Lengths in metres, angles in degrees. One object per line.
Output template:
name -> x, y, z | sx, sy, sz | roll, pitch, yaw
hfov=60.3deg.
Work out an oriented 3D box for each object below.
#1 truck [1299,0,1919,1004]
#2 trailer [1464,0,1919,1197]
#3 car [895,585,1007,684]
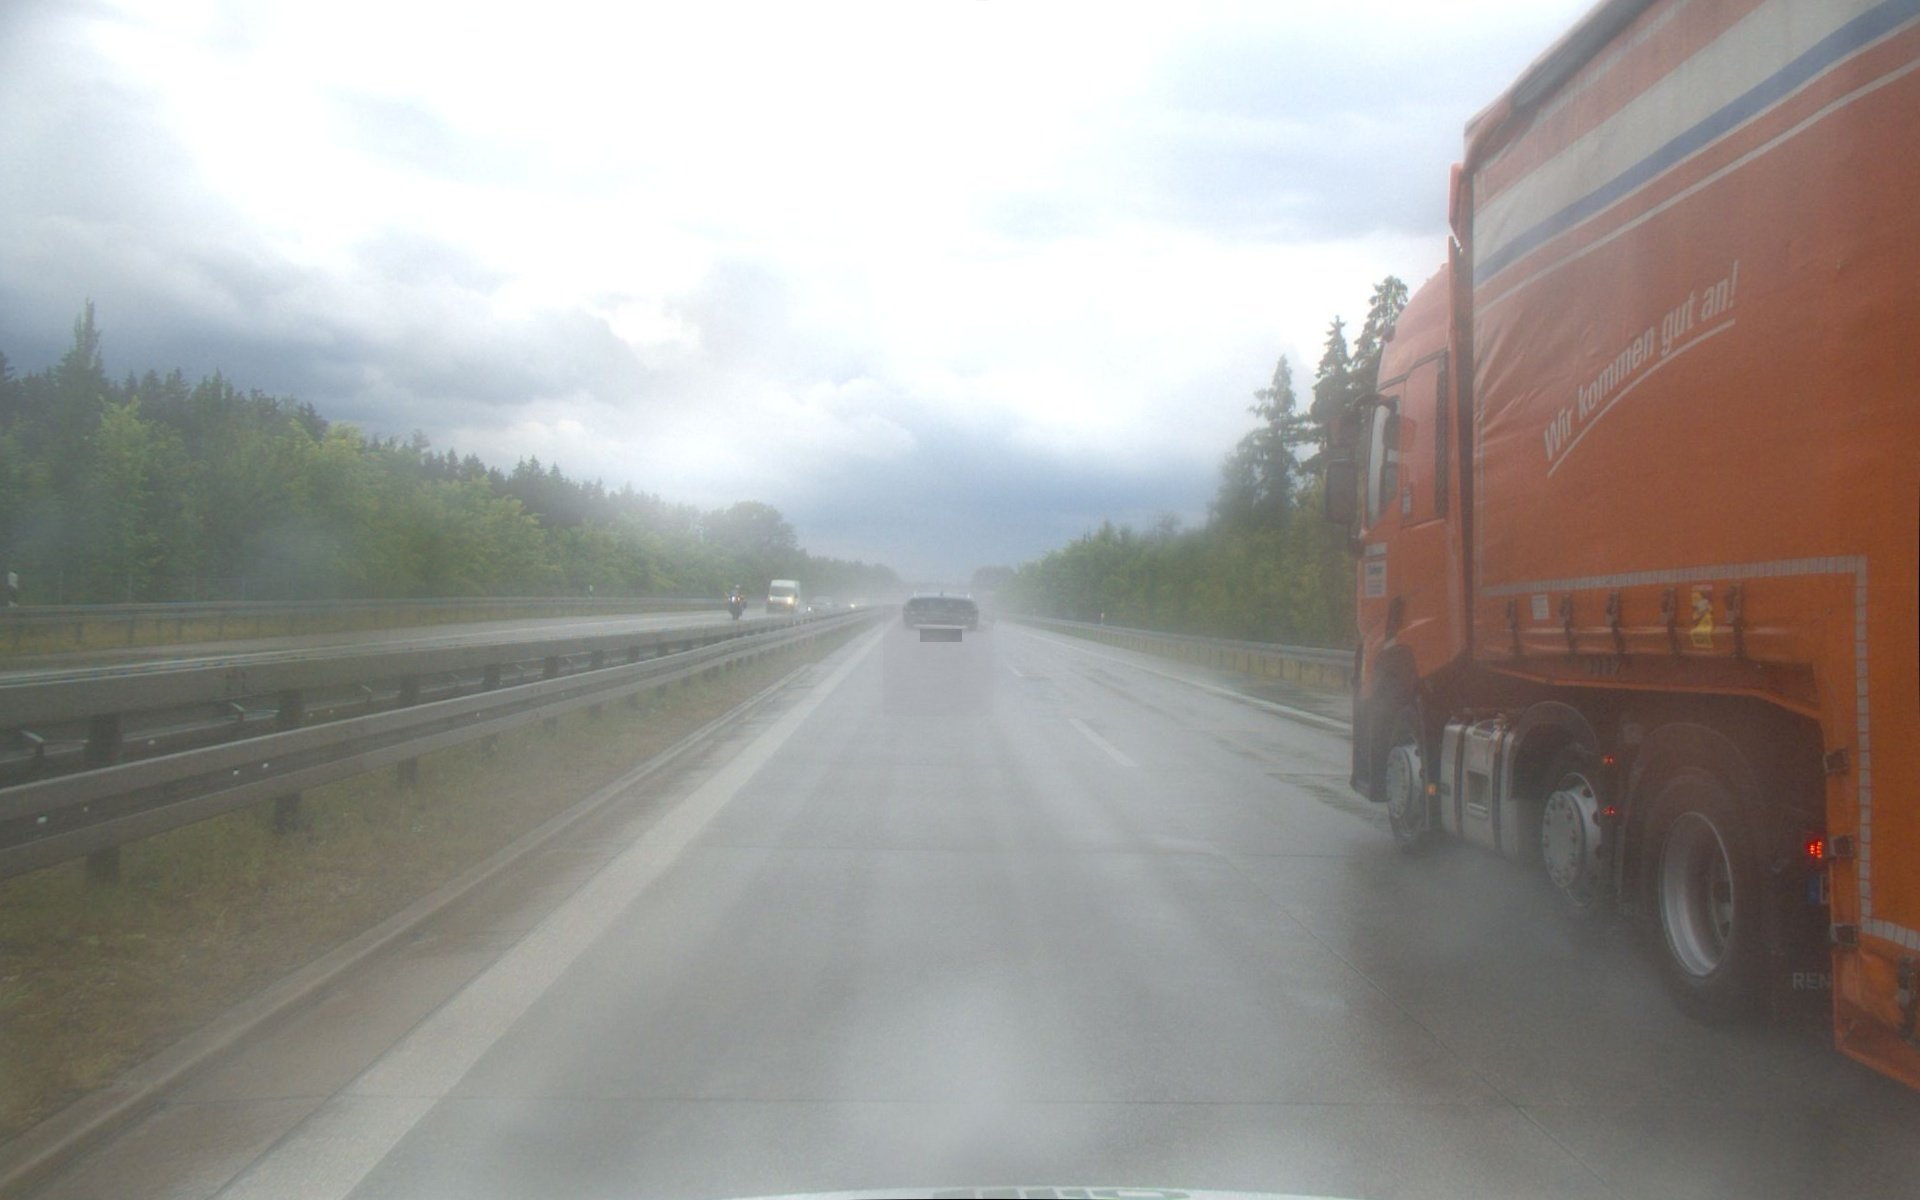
truck -> 3.870, -0.480, 9.243 | 2.703, 4.159, 5.436 | 1, 0, -1
trailer -> 4.002, -0.516, 1.714 | 2.738, 4.230, 13.002 | 1, 0, -1
car -> -0.220, 0.657, 30.579 | 1.856, 1.603, 3.629 | 4, -2, -2
